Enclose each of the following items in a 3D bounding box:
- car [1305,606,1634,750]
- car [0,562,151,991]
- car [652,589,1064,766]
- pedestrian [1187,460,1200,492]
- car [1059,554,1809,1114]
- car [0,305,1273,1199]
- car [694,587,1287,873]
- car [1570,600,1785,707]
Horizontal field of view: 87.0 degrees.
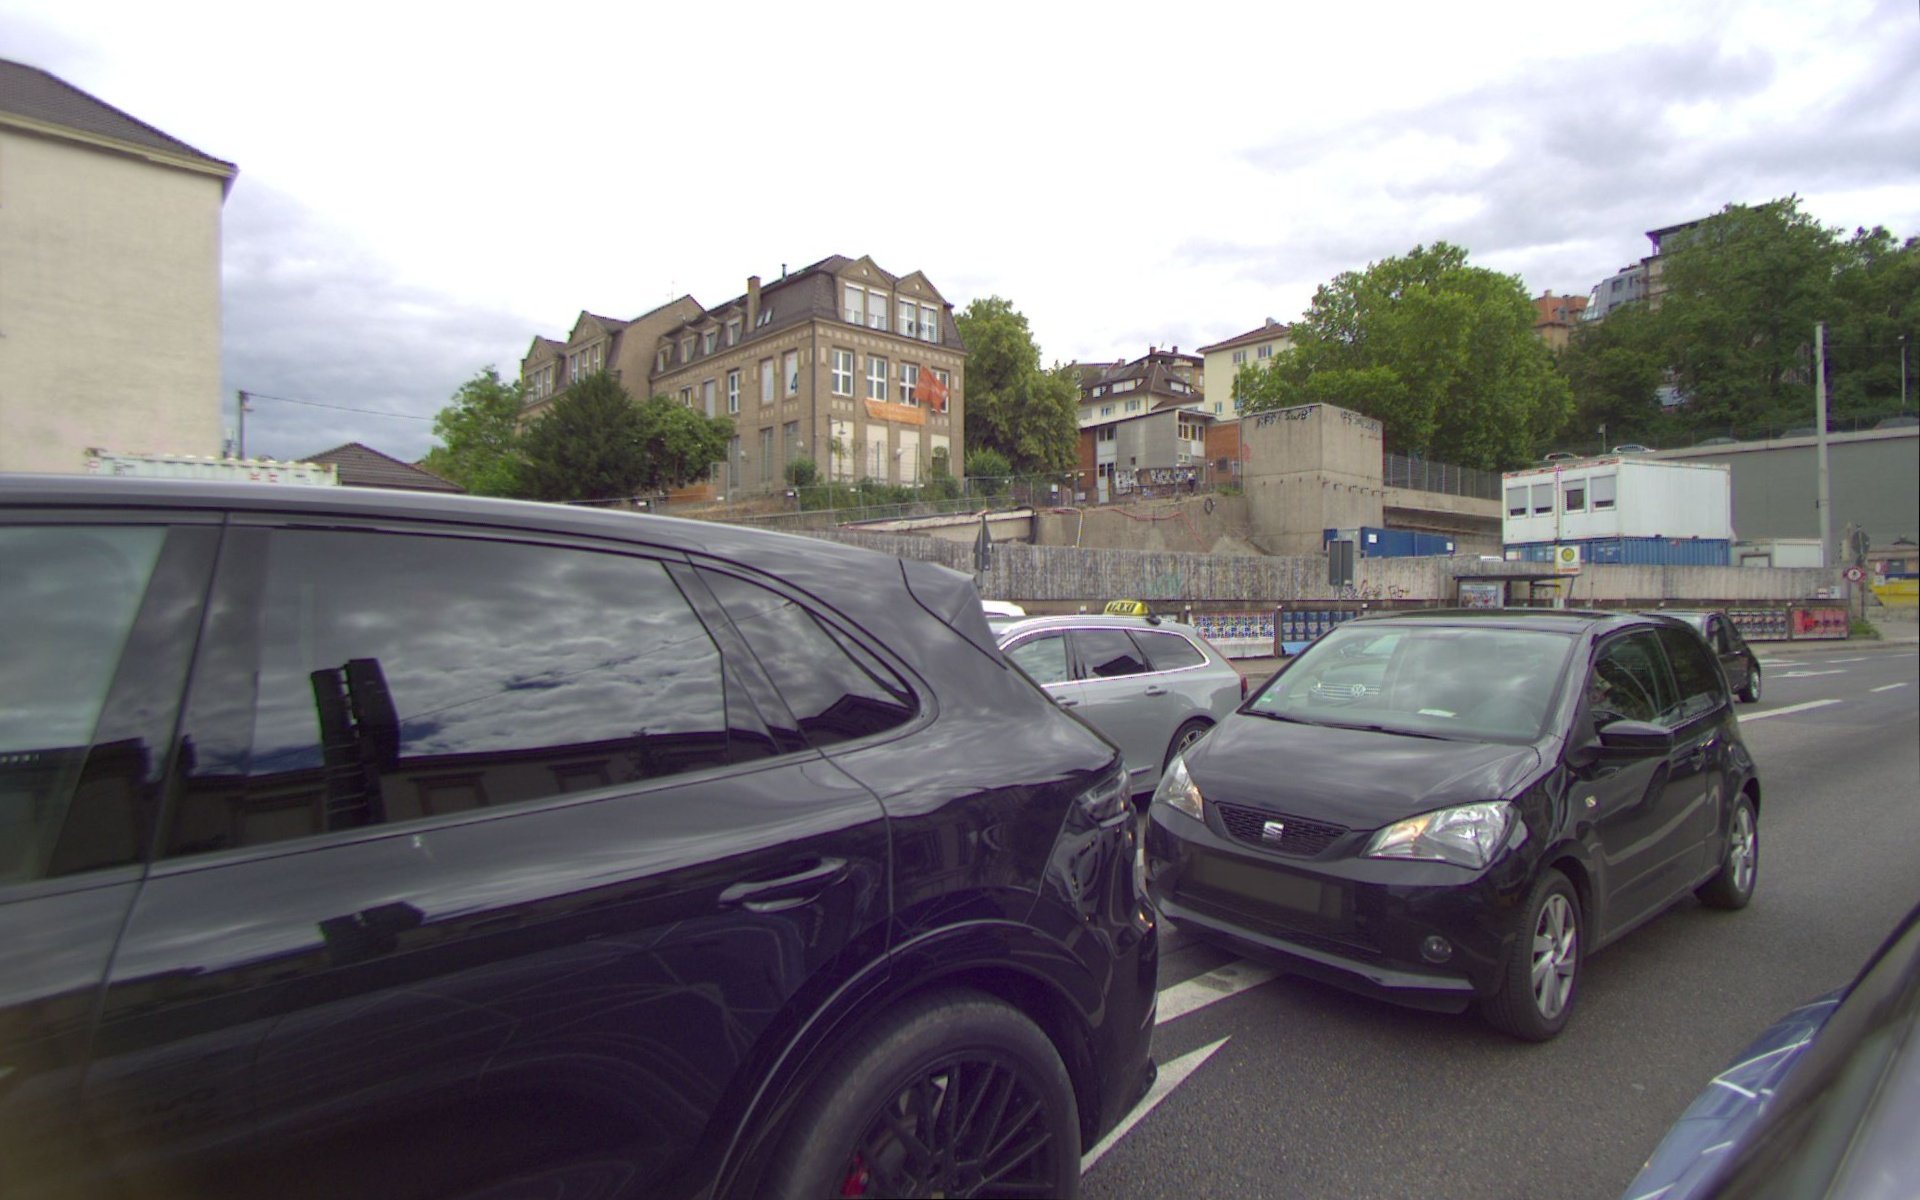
[{"bbox_3d":[6.027,0.773,11.799,4.139,1.381,1.827,1,0,-38],"label":"car"},{"bbox_3d":[-5.060,0.640,3.451,3.581,1.529,1.826,-1,0,-39],"label":"car"},{"bbox_3d":[-0.936,0.637,10.597,4.004,1.484,1.824,-1,0,-42],"label":"car"},{"bbox_3d":[13.907,-7.410,60.302,0.559,1.817,0.555,0,0,-35],"label":"pedestrian"},{"bbox_3d":[2.414,0.634,4.712,3.841,1.575,1.661,-1,0,-39],"label":"car"},{"bbox_3d":[-1.655,0.558,1.661,4.497,1.689,1.998,-1,0,-39],"label":"car"},{"bbox_3d":[0.402,0.661,7.334,4.142,1.484,1.825,-1,0,-40],"label":"car"},{"bbox_3d":[11.303,0.767,15.877,3.711,1.478,1.721,1,-2,-38],"label":"car"}]
